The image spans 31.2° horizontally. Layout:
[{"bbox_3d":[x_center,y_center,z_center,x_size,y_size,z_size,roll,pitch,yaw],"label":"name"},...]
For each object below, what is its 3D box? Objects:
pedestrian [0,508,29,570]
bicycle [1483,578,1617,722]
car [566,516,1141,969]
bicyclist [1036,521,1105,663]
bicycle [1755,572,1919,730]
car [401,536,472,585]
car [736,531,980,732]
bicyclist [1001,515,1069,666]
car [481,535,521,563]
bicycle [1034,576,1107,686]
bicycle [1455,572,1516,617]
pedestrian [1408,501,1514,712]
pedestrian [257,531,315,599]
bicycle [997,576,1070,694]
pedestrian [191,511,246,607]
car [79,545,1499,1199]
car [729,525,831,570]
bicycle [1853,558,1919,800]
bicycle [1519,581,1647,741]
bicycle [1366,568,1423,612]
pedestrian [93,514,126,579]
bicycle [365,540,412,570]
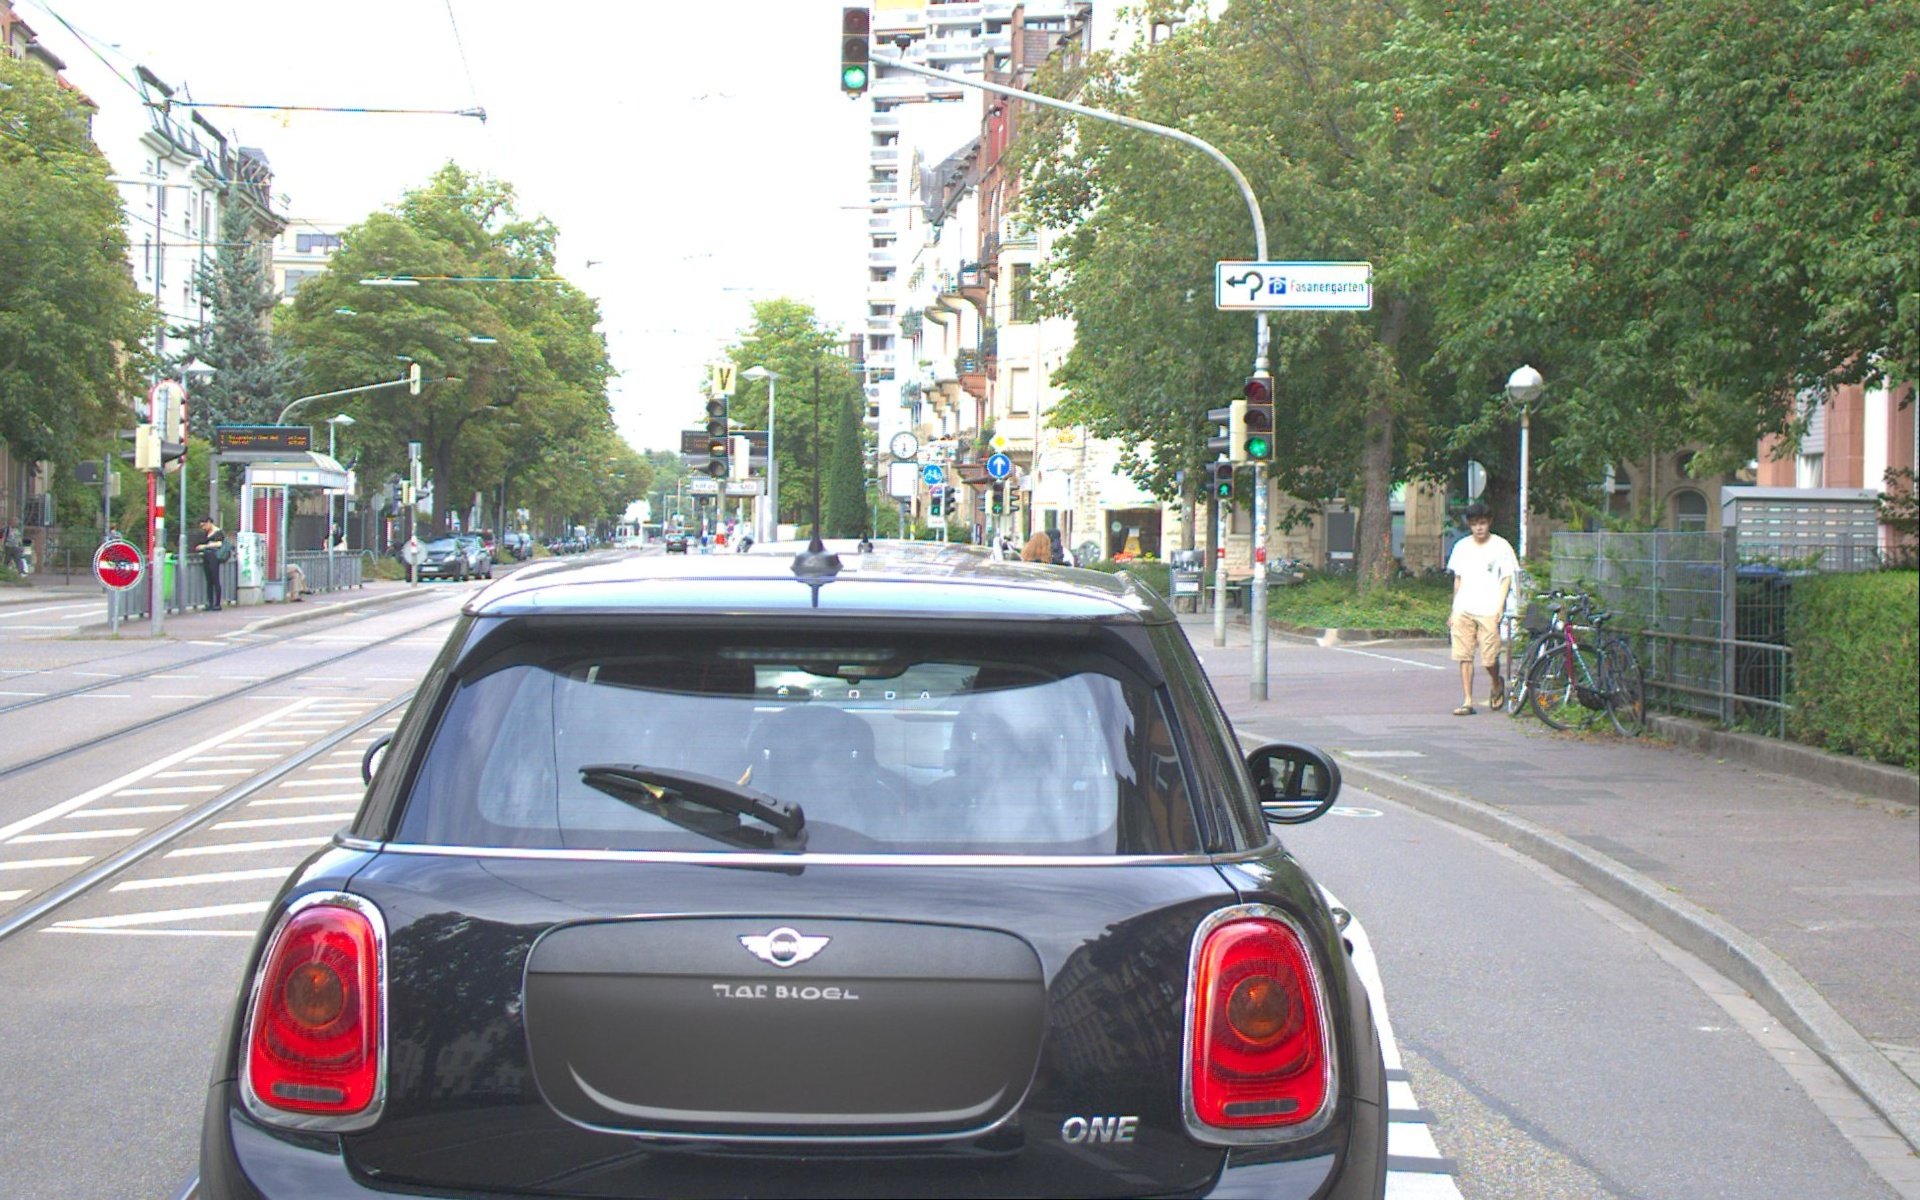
[{"bbox_3d":[-26.029,-1.676,94.369,0.832,1.697,0.733,1,1,-9],"label":"pedestrian"},{"bbox_3d":[4.747,0.386,27.766,0.671,1.102,1.672,1,1,-4],"label":"bicycle"},{"bbox_3d":[-0.372,0.452,13.648,1.927,1.504,4.000,1,1,0],"label":"car"},{"bbox_3d":[1.227,-0.097,38.440,0.684,1.558,0.998,1,1,-2],"label":"bicyclist"},{"bbox_3d":[6.030,0.333,22.432,1.544,1.005,0.510,1,1,-6],"label":"bicycle"},{"bbox_3d":[-16.617,-1.259,109.229,1.751,1.436,4.001,3,1,-3],"label":"car"},{"bbox_3d":[-0.795,0.192,27.199,1.751,1.436,4.480,1,1,-1],"label":"car"},{"bbox_3d":[0.774,-0.104,35.794,0.594,1.545,1.014,1,1,-4],"label":"bicyclist"},{"bbox_3d":[-26.444,-2.940,198.133,1.993,1.546,4.001,1,1,-4],"label":"car"},{"bbox_3d":[1.227,0.331,38.377,0.684,1.166,1.697,1,1,-2],"label":"bicycle"},{"bbox_3d":[13.351,-0.133,87.302,0.667,1.124,1.889,2,1,38],"label":"bicycle"},{"bbox_3d":[4.227,0.045,29.053,0.730,1.748,0.950,1,1,0],"label":"pedestrian"},{"bbox_3d":[-13.050,-0.673,66.567,1.058,1.289,0.986,1,1,-9],"label":"pedestrian"},{"bbox_3d":[0.758,0.350,35.804,0.598,1.166,1.697,1,1,-4],"label":"bicycle"},{"bbox_3d":[-12.629,-0.699,58.600,0.851,1.615,0.843,1,1,-9],"label":"pedestrian"},{"bbox_3d":[-0.240,0.634,6.278,1.751,1.436,4.000,1,1,-1],"label":"car"},{"bbox_3d":[-9.513,-2.759,181.789,5.026,2.265,2.396,0,1,-44],"label":"car"},{"bbox_3d":[5.360,0.419,18.735,0.516,1.277,1.550,1,1,-2],"label":"bicycle"},{"bbox_3d":[4.520,0.425,25.023,0.508,1.085,1.550,-2,1,-4],"label":"bicycle"},{"bbox_3d":[11.272,-0.255,89.142,0.532,1.124,1.889,2,1,38],"label":"bicycle"},{"bbox_3d":[-22.614,-1.423,91.423,0.694,1.713,0.758,1,1,-2],"label":"pedestrian"},{"bbox_3d":[-21.464,-1.686,129.119,1.667,1.115,0.573,0,1,-43],"label":"bicycle"}]
